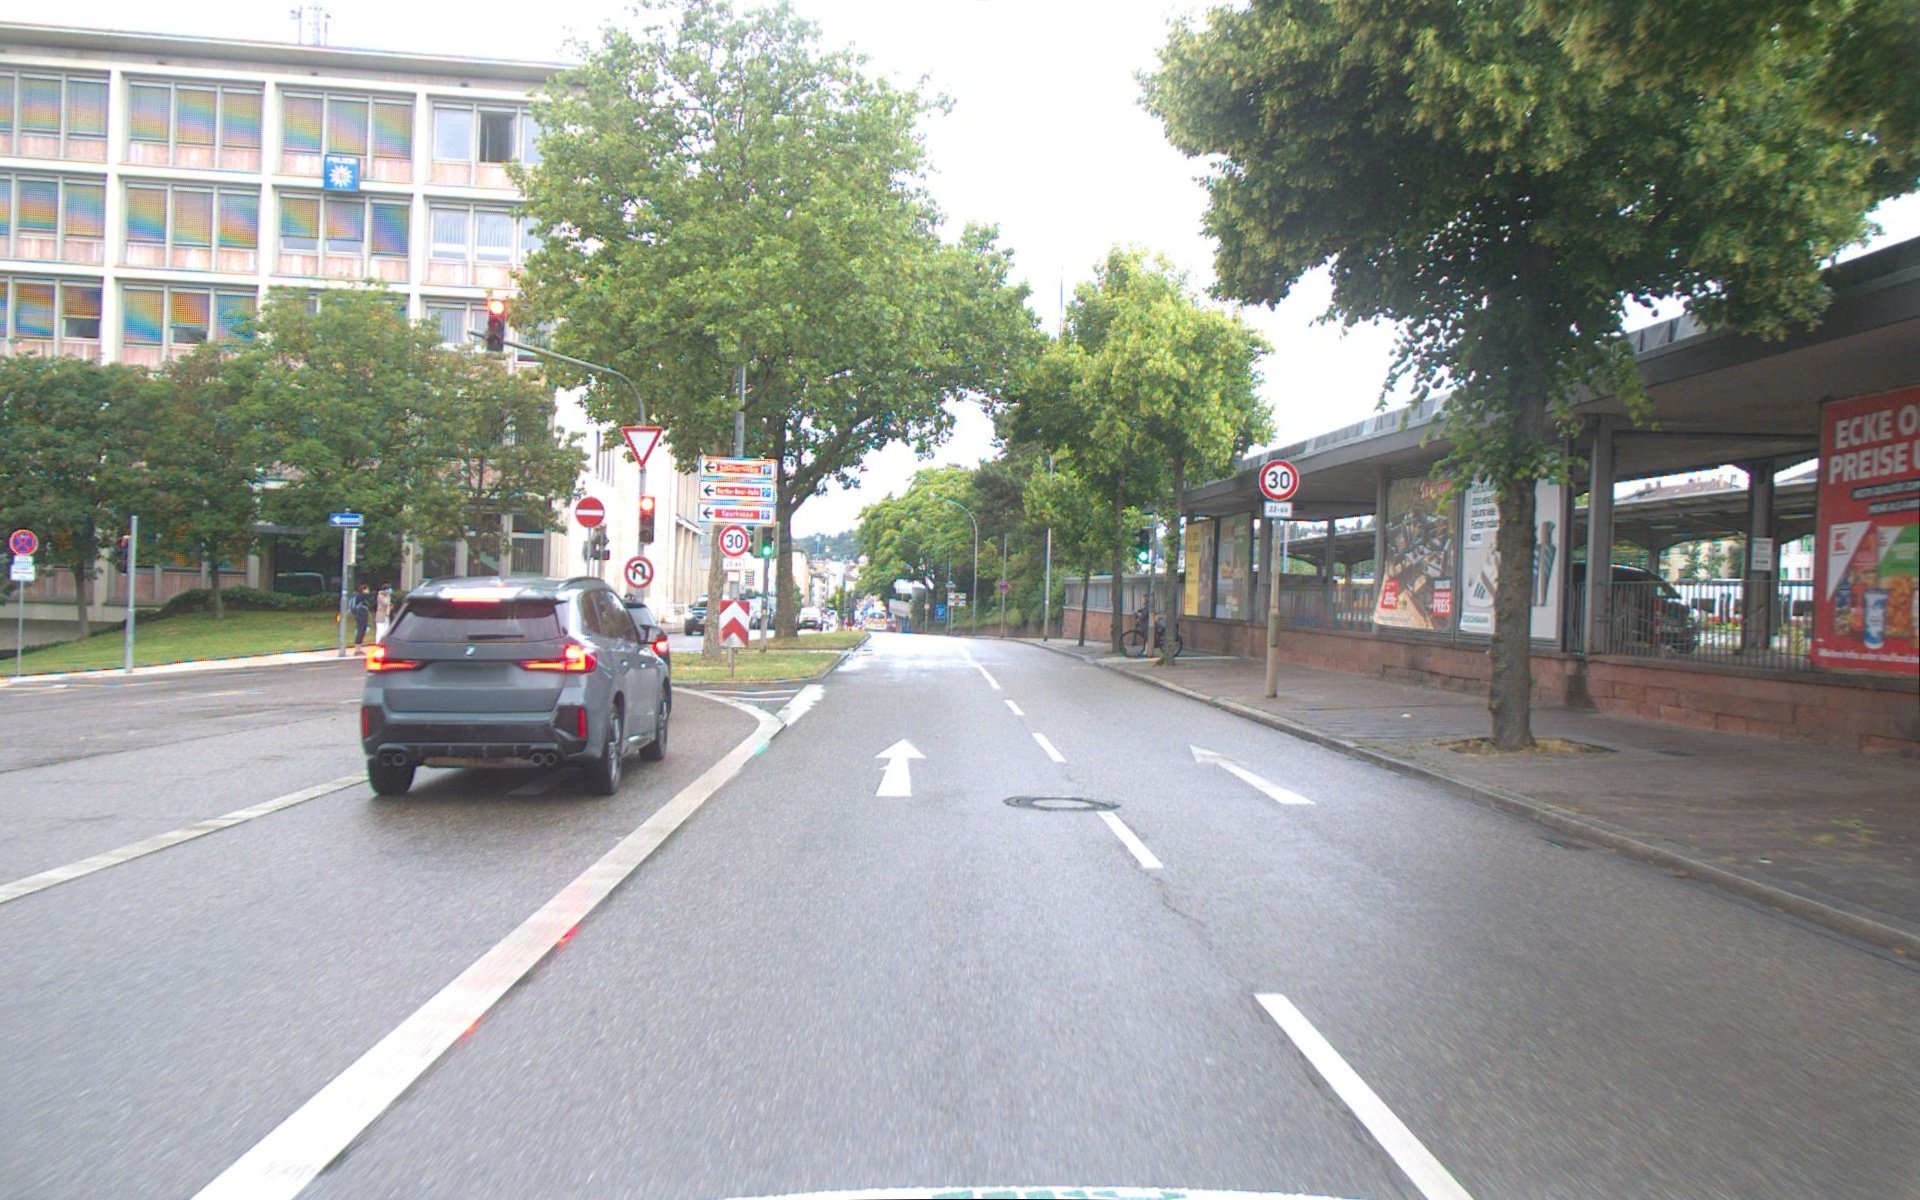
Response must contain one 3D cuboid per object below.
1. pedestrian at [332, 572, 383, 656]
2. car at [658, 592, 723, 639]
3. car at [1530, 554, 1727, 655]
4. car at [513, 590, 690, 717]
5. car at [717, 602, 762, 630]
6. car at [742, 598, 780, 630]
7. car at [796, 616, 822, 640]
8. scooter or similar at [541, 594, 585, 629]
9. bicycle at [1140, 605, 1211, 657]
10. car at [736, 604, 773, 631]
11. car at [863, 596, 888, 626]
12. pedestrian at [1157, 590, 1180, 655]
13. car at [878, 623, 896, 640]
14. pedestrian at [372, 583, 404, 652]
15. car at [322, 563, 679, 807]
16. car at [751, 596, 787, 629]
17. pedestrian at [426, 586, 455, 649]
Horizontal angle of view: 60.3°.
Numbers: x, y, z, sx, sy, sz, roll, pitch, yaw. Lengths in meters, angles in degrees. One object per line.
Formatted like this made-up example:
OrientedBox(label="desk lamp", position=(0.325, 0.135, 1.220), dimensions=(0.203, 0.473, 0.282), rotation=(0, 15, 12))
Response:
OrientedBox(label="pedestrian", position=(-15.077, 0.345, 41.402), dimensions=(0.915, 2.081, 0.873), rotation=(0, 0, 5))
OrientedBox(label="car", position=(-9.812, 0.576, 60.537), dimensions=(1.804, 1.534, 4.100), rotation=(3, -1, -3))
OrientedBox(label="car", position=(13.592, 0.089, 33.949), dimensions=(1.954, 1.904, 4.595), rotation=(1, 0, -3))
OrientedBox(label="car", position=(-4.672, 0.609, 21.108), dimensions=(1.787, 1.434, 4.392), rotation=(0, 0, -18))
OrientedBox(label="car", position=(-11.092, 0.820, 83.475), dimensions=(1.656, 1.320, 4.092), rotation=(2, -1, 0))
OrientedBox(label="car", position=(-11.341, 0.790, 94.607), dimensions=(1.761, 1.705, 4.601), rotation=(2, -1, -2))
OrientedBox(label="car", position=(-10.739, 1.984, 117.868), dimensions=(1.786, 1.689, 4.333), rotation=(1, 0, -5))
OrientedBox(label="scooter or similar", position=(-13.977, 0.399, 58.275), dimensions=(0.596, 1.213, 1.525), rotation=(1, 0, 31))
OrientedBox(label="bicycle", position=(5.389, 0.767, 41.376), dimensions=(1.687, 1.271, 0.485), rotation=(1, 0, 30))
OrientedBox(label="car", position=(-11.066, 0.942, 89.256), dimensions=(1.511, 1.377, 4.108), rotation=(2, -1, -1))
OrientedBox(label="car", position=(-7.668, 0.987, 149.972), dimensions=(2.219, 2.703, 3.997), rotation=(1, 0, -4))
OrientedBox(label="pedestrian", position=(5.180, 0.558, 40.994), dimensions=(0.448, 1.596, 0.392), rotation=(0, 0, 30))
OrientedBox(label="car", position=(-8.629, 3.742, 195.648), dimensions=(2.050, 1.944, 4.096), rotation=(0, 0, -4))
OrientedBox(label="pedestrian", position=(-14.720, 0.450, 42.601), dimensions=(0.641, 1.740, 0.795), rotation=(1, 0, -10))
OrientedBox(label="car", position=(-3.517, 0.588, 13.534), dimensions=(1.925, 1.668, 4.355), rotation=(0, 0, -4))
OrientedBox(label="car", position=(-11.859, 0.795, 102.909), dimensions=(1.910, 1.978, 4.992), rotation=(2, -1, -3))
OrientedBox(label="pedestrian", position=(-13.606, 0.465, 43.346), dimensions=(0.642, 1.631, 0.922), rotation=(1, 0, -13))
